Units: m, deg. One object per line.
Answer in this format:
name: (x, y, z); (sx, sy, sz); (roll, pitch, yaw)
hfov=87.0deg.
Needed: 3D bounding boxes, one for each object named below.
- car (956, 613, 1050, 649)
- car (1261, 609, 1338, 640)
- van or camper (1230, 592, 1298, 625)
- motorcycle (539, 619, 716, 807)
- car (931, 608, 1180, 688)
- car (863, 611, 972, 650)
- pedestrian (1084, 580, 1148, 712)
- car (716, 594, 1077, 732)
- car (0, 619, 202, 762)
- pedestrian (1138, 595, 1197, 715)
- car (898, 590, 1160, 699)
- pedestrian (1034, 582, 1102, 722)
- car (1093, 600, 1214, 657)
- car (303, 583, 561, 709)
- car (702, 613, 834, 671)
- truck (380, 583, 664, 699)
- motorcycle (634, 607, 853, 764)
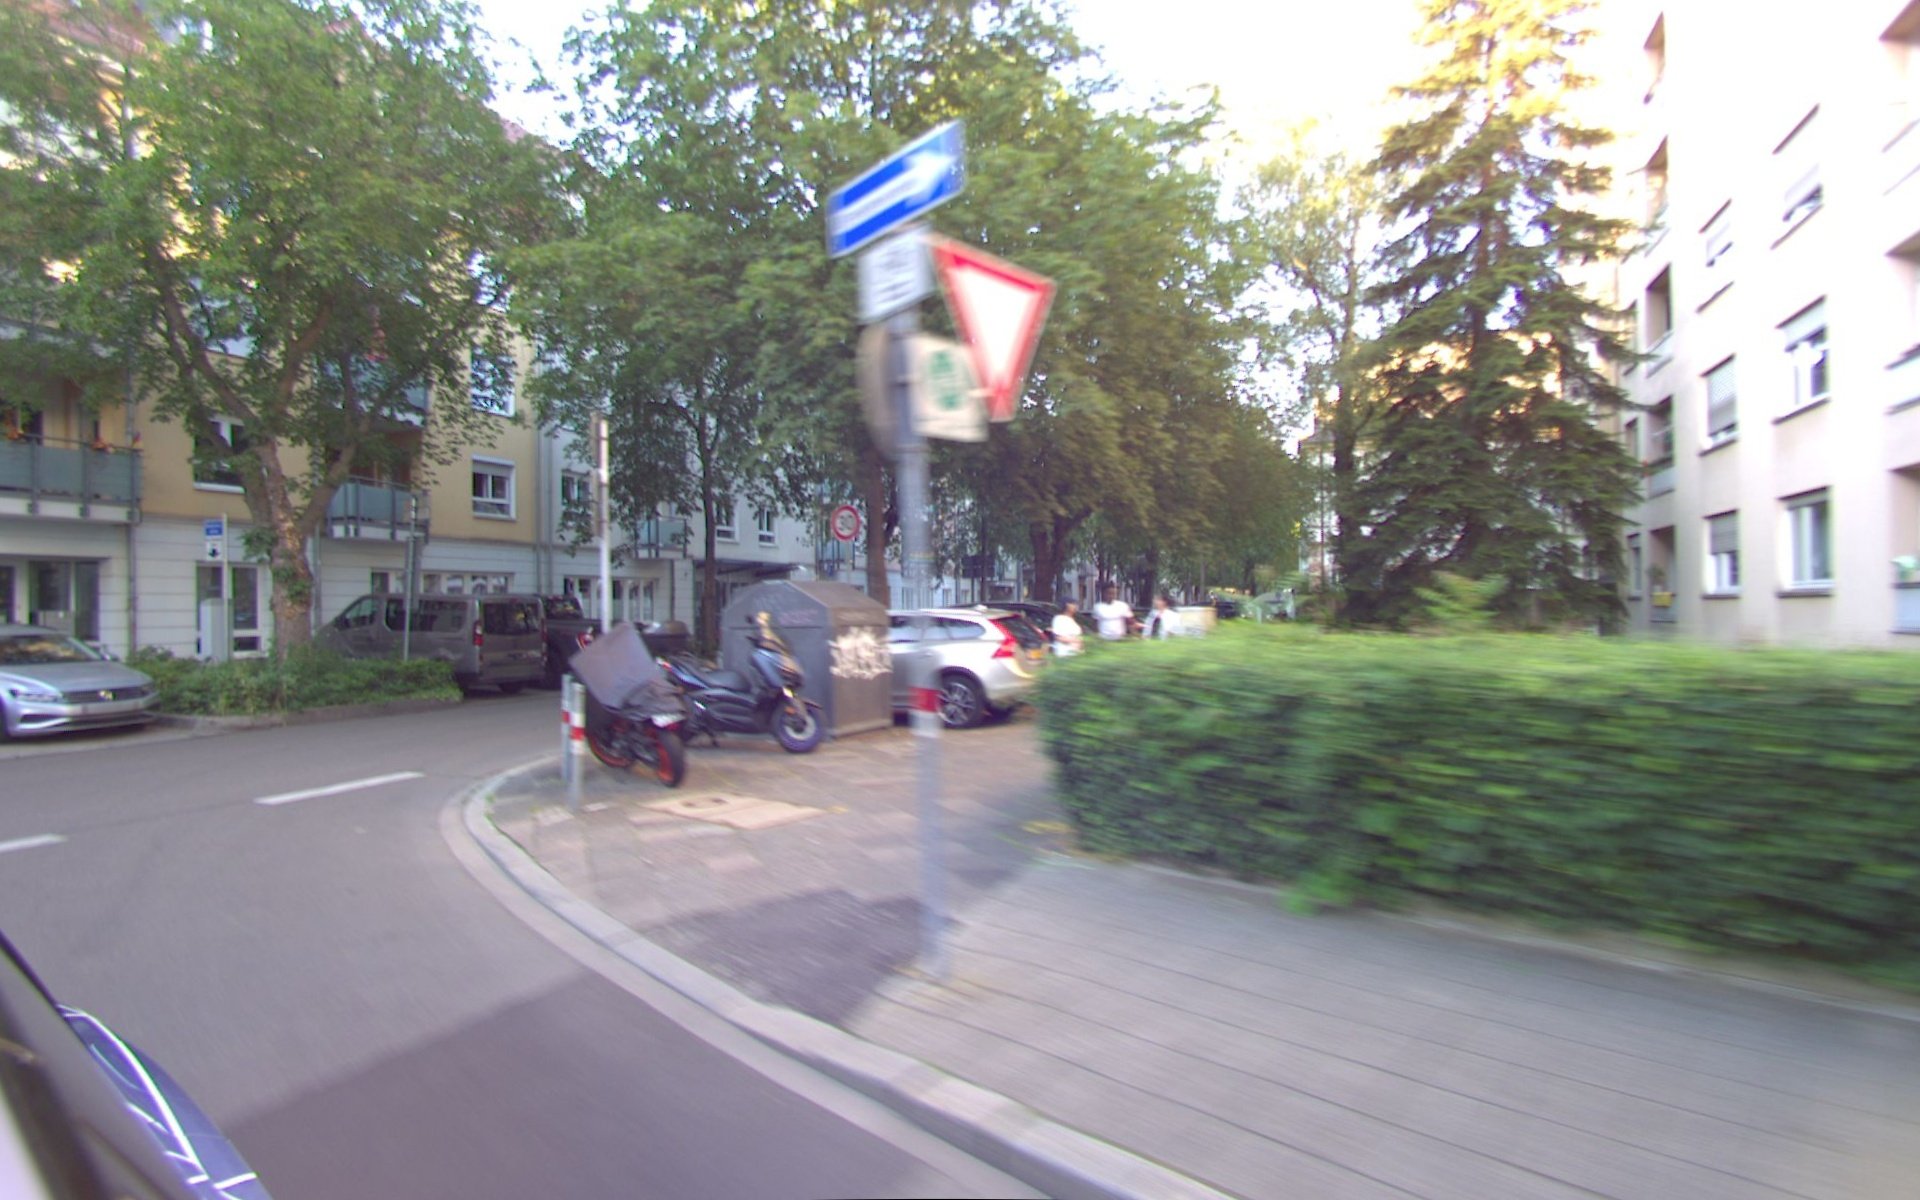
car: (1.987, 1.412, 46.775); (3.967, 1.486, 1.902); (2, 0, 18)
car: (19.042, 1.372, 56.816); (3.972, 1.604, 1.776); (-2, -2, 22)
van or camper: (23.193, 0.672, 77.105); (4.800, 2.446, 1.931); (-1, -1, 22)
motorcycle: (-2.892, 0.873, 8.628); (0.712, 1.384, 2.229); (0, -1, -38)
car: (1.971, 0.979, 20.668); (4.695, 1.435, 2.058); (-2, -1, 20)
car: (-1.886, 1.310, 45.062); (4.555, 1.564, 1.760); (1, 0, 21)
pedestrian: (2.211, 0.637, 14.300); (0.695, 1.802, 0.660); (-2, -2, 26)
car: (-0.862, 0.862, 13.939); (4.483, 1.593, 2.039); (-4, -1, 23)
car: (-13.049, 1.189, 13.979); (4.775, 1.717, 1.824); (-2, -1, 20)
pedestrian: (2.794, 0.735, 13.630); (0.658, 1.584, 0.444); (-2, -2, 26)
car: (1.299, 0.829, 18.631); (4.377, 1.697, 2.050); (-4, -2, 20)
pedestrian: (1.423, 0.677, 13.409); (0.687, 1.802, 0.531); (-1, -1, -19)
car: (5.949, 0.883, 31.046); (3.390, 1.621, 1.749); (-2, -1, 20)
car: (-10.492, 0.820, 20.125); (4.604, 2.149, 2.022); (2, 0, 22)
car: (-5.981, 1.261, 31.615); (3.648, 1.560, 1.769); (2, 1, 20)
truck: (-9.784, 0.820, 22.580); (5.983, 2.149, 2.244); (2, 0, 22)
motorcycle: (-2.254, 0.851, 10.460); (2.210, 1.505, 0.686); (-2, -1, 24)
